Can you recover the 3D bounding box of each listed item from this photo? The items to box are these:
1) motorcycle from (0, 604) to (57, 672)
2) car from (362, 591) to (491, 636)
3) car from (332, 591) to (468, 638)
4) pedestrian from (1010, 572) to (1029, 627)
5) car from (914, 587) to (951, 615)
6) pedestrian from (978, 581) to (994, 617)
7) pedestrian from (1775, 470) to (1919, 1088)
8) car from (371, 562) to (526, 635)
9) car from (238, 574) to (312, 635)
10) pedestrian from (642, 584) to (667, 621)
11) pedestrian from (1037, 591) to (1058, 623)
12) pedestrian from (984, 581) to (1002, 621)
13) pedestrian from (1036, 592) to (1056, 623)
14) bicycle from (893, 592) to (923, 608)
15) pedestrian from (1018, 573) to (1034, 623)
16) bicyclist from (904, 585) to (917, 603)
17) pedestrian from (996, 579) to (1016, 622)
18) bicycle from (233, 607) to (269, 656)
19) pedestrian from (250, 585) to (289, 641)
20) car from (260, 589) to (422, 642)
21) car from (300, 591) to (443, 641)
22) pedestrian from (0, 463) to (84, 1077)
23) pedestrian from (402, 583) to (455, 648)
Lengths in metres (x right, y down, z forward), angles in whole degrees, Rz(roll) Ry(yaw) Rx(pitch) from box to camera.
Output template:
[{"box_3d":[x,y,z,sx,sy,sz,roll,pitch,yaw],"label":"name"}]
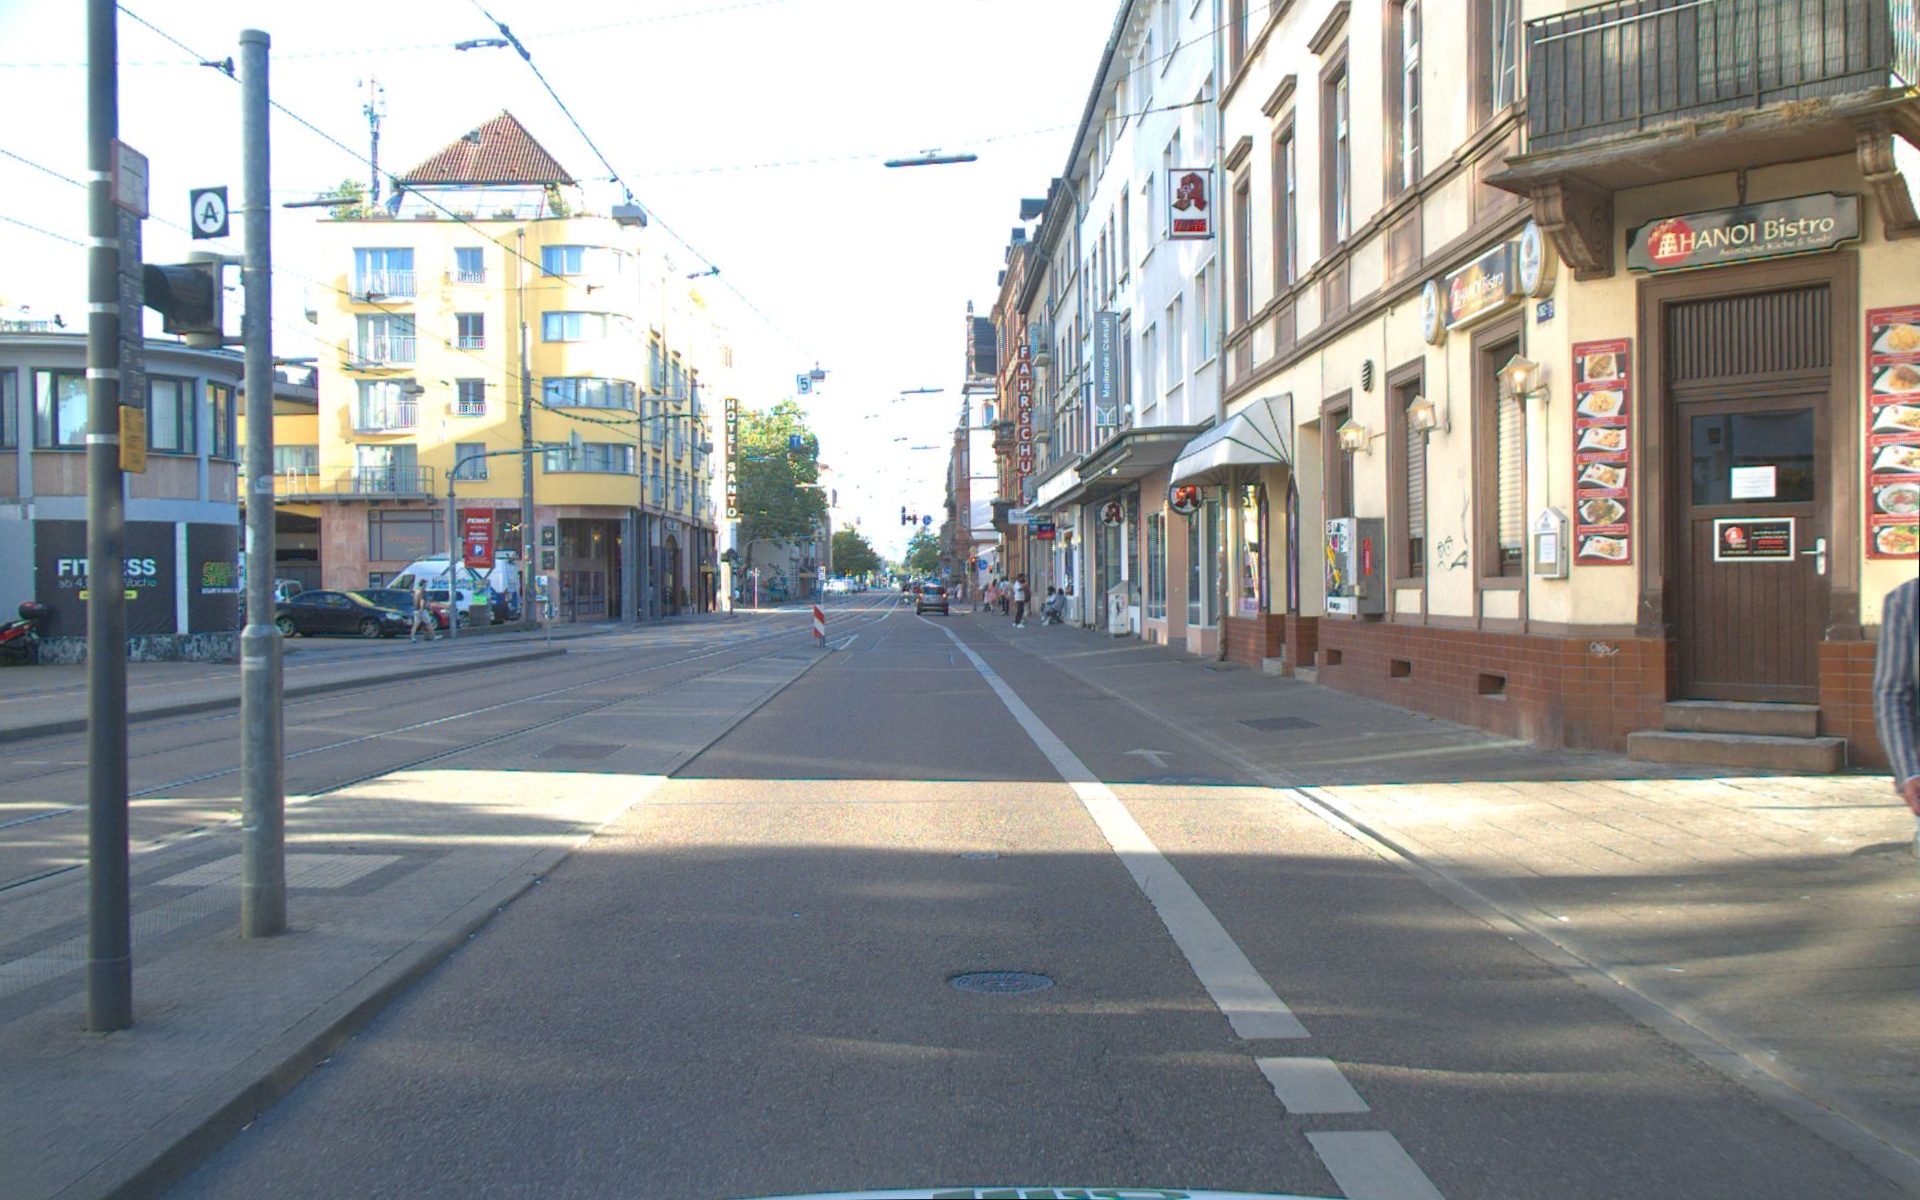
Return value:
[{"box_3d":[-19.366,0.754,33.490,1.760,1.320,0.605,2,0,-8],"label":"motorcycle"},{"box_3d":[-18.653,0.458,57.927,3.906,1.536,1.800,0,0,-1],"label":"car"},{"box_3d":[-18.716,0.475,55.393,3.906,1.536,1.800,0,0,-1],"label":"car"},{"box_3d":[2.021,-0.016,56.176,0.635,1.828,0.562,-1,0,2],"label":"pedestrian"},{"box_3d":[-1.531,0.030,91.282,1.953,1.474,3.999,0,0,-2],"label":"car"},{"box_3d":[1.418,-0.057,90.493,0.826,1.951,0.846,-1,0,-3],"label":"pedestrian"},{"box_3d":[3.090,0.502,5.062,0.699,1.805,0.772,-4,1,-5],"label":"pedestrian"},{"box_3d":[-18.658,-0.067,60.505,5.002,2.621,2.128,0,0,-1],"label":"car"},{"box_3d":[-26.103,0.146,63.114,1.761,2.246,3.991,0,0,-10],"label":"car"},{"box_3d":[-15.217,0.135,82.507,0.889,1.846,1.153,0,0,9],"label":"pedestrian"},{"box_3d":[2.967,0.244,55.967,0.676,1.061,0.681,-1,0,2],"label":"pedestrian"},{"box_3d":[1.609,0.045,80.512,0.826,1.951,0.661,-1,0,-4],"label":"pedestrian"},{"box_3d":[2.958,0.246,56.731,0.676,1.061,0.681,-1,0,2],"label":"pedestrian"},{"box_3d":[-3.600,-0.005,114.802,1.893,1.021,0.754,-1,1,16],"label":"bicycle"},{"box_3d":[2.425,-0.073,60.545,0.548,1.828,0.651,-1,0,5],"label":"pedestrian"},{"box_3d":[-3.434,-0.438,114.753,0.695,1.242,0.755,-1,0,16],"label":"bicyclist"},{"box_3d":[2.116,0.038,75.956,0.831,1.951,1.034,-1,0,-3],"label":"pedestrian"},{"box_3d":[-17.042,0.744,39.796,0.490,1.127,1.794,-1,0,-14],"label":"bicycle"},{"box_3d":[-21.075,0.390,50.494,0.884,1.680,0.751,0,0,-44],"label":"pedestrian"},{"box_3d":[-18.710,0.459,50.103,4.232,1.536,1.800,0,0,-1],"label":"car"},{"box_3d":[-18.749,0.491,52.811,3.906,1.536,1.800,0,0,-1],"label":"car"},{"box_3d":[-3.144,0.474,4.740,0.852,1.744,0.787,1,1,-4],"label":"pedestrian"},{"box_3d":[-15.442,0.443,48.065,0.891,1.846,1.150,0,0,29],"label":"pedestrian"}]
